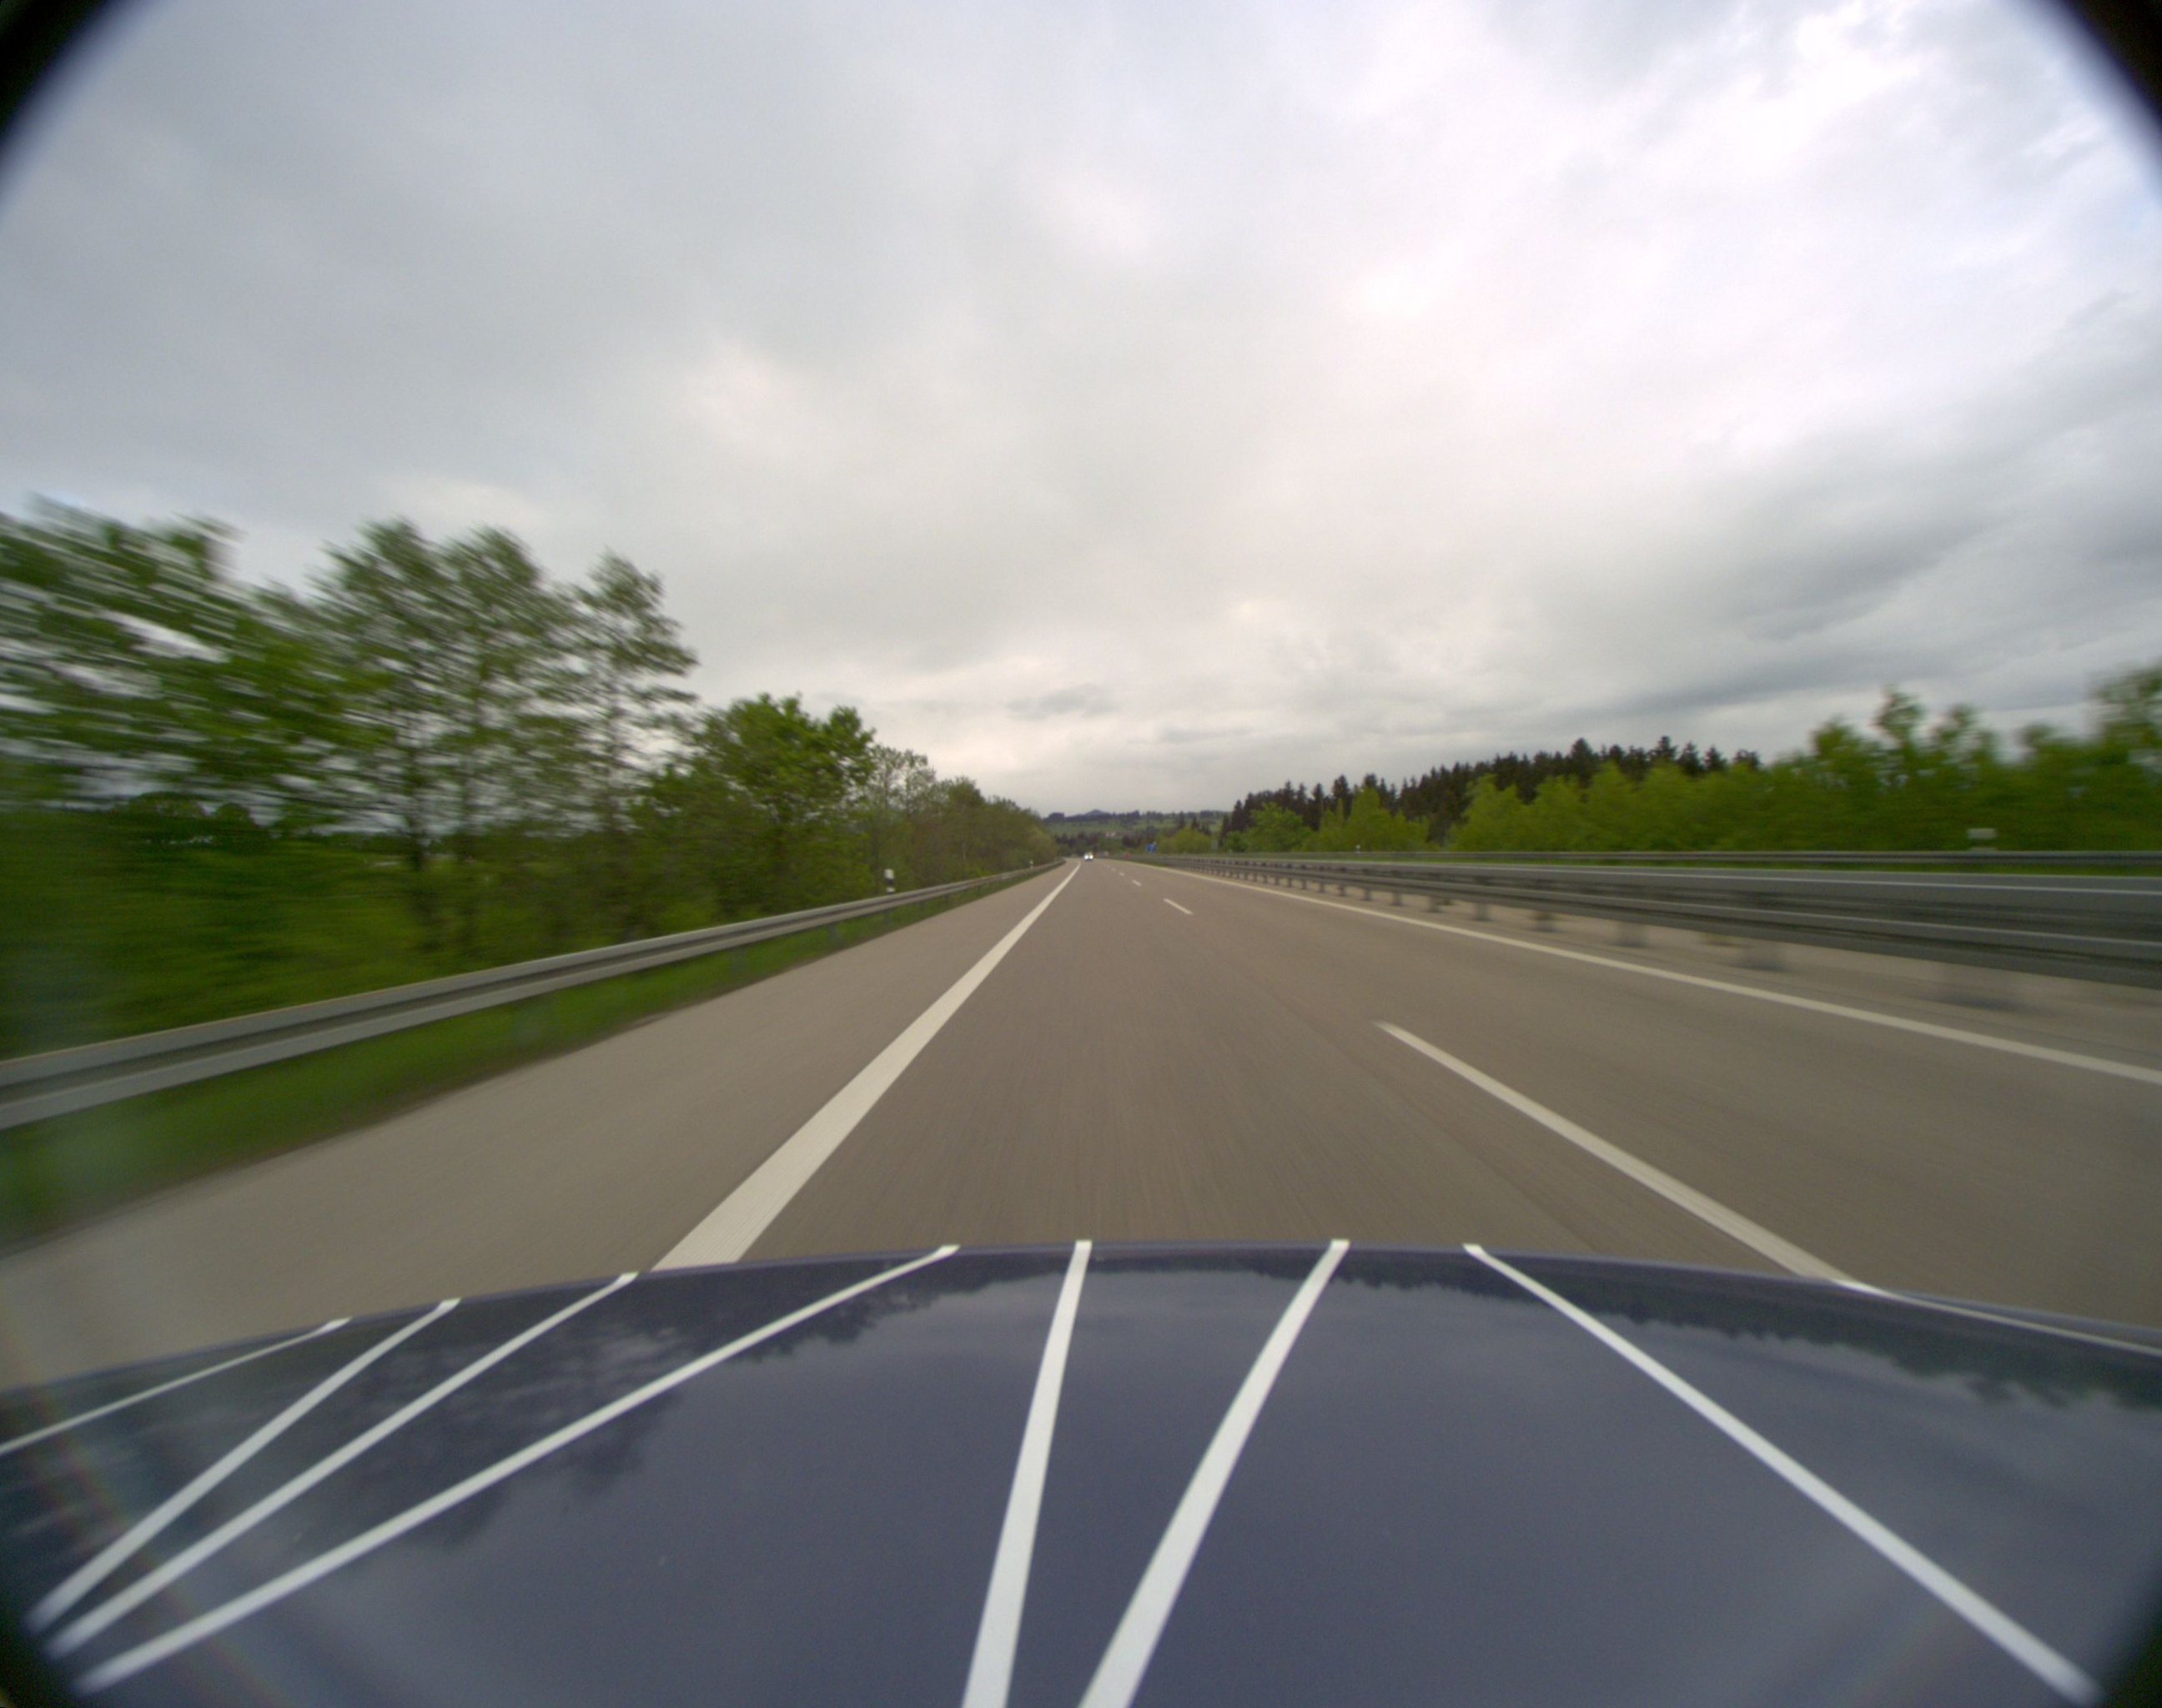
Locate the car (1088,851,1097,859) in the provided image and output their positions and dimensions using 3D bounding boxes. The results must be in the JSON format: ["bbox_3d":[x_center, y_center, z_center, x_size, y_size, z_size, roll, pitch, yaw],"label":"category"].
[{"bbox_3d":[2.635,0.219,181.648,2.021,1.899,4.221,-3,0,0],"label":"car"}]

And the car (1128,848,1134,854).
[{"bbox_3d":[17.101,-1.015,260.963,1.998,2.002,4.001,-2,0,4],"label":"car"}]
